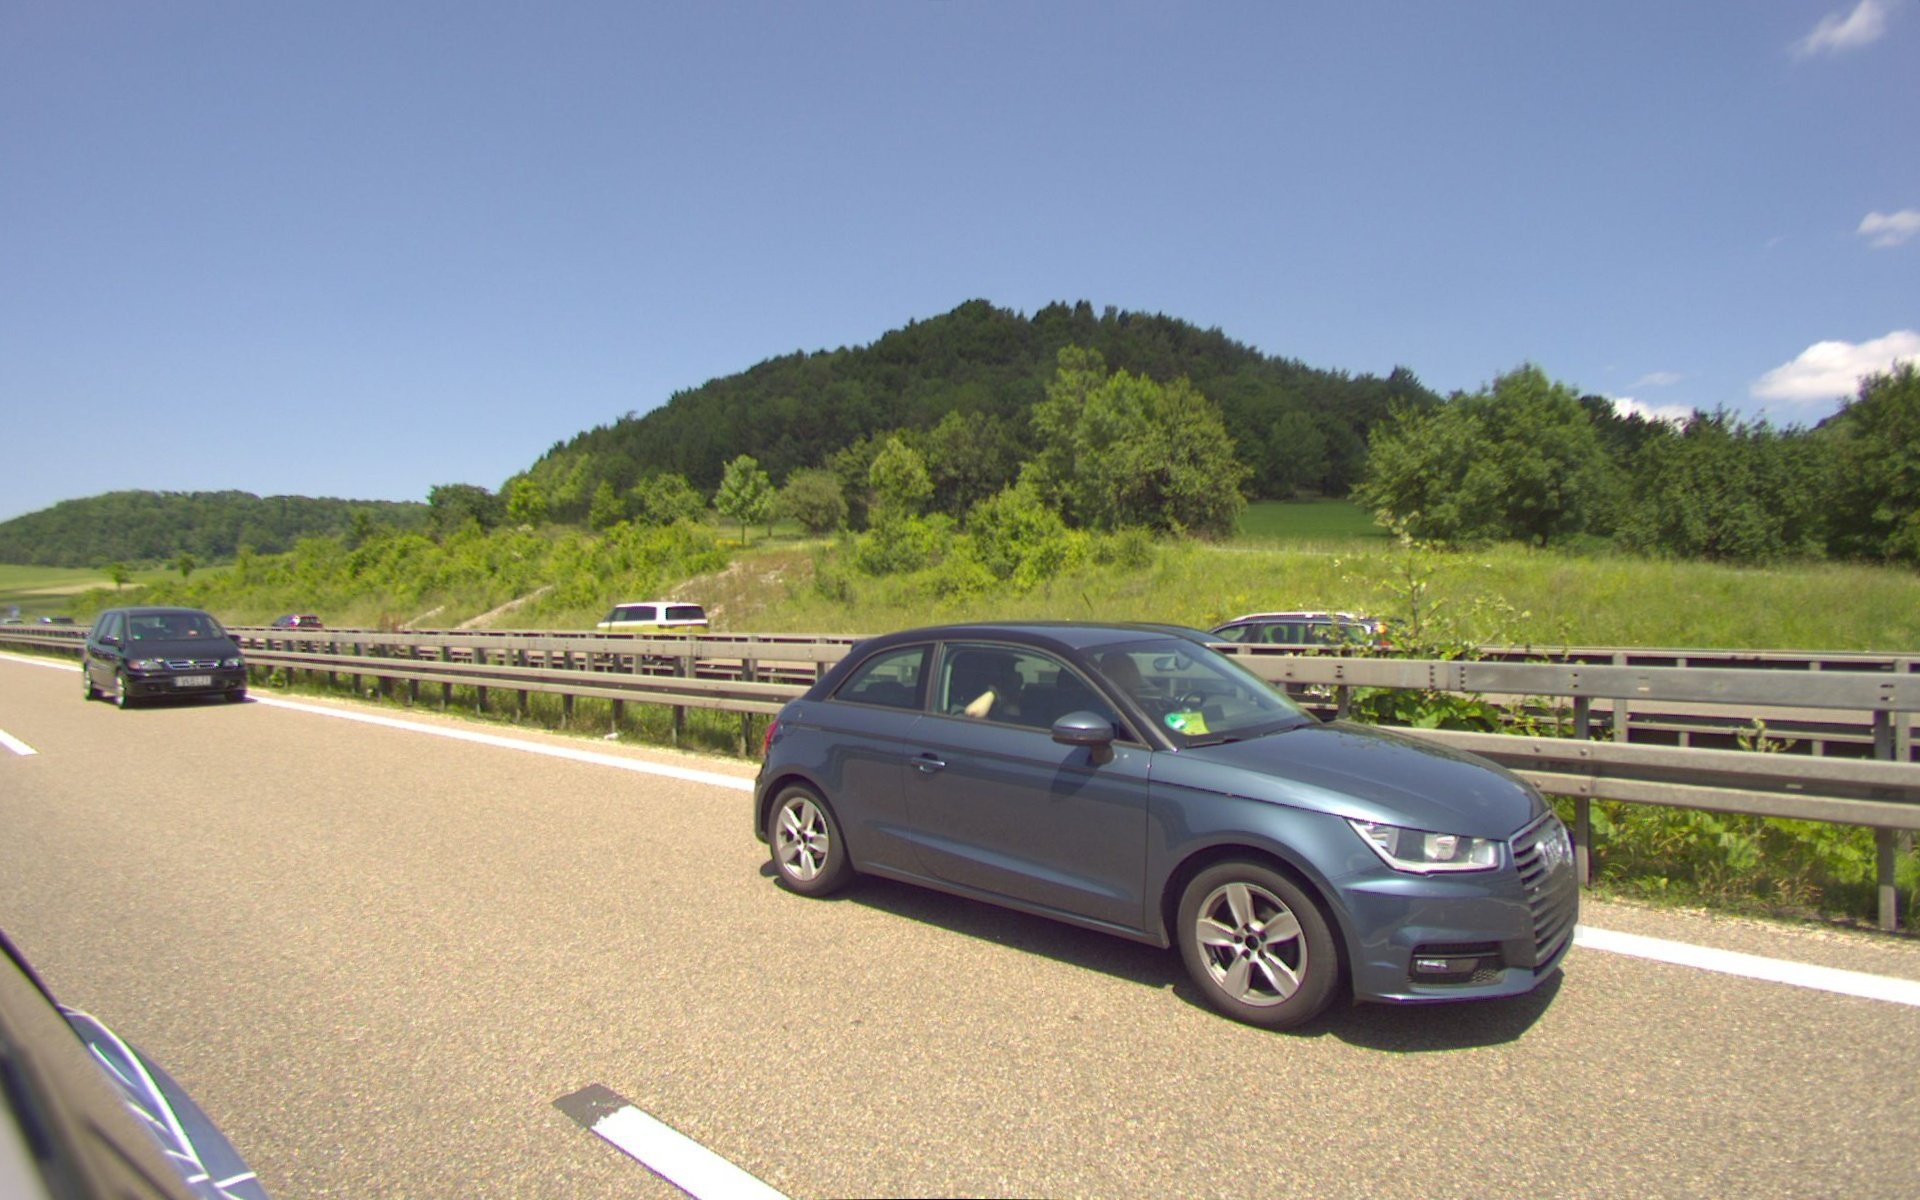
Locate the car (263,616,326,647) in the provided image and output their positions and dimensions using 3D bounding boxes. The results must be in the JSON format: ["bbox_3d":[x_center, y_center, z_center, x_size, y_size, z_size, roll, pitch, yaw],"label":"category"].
[{"bbox_3d":[-37.728,1.773,57.341,4.542,1.657,1.806,-1,-1,41],"label":"car"}]

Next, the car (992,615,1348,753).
[{"bbox_3d":[2.581,0.961,13.094,4.227,1.487,1.714,-1,-1,41],"label":"car"}]

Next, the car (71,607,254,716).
[{"bbox_3d":[-13.847,0.968,17.486,4.445,1.647,1.781,-1,-1,42],"label":"car"}]

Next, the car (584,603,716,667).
[{"bbox_3d":[-10.353,1.126,33.630,4.658,1.956,2.039,-1,-1,41],"label":"car"}]

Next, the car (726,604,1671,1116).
[{"bbox_3d":[0.790,0.749,4.735,3.998,1.399,1.671,-1,-1,41],"label":"car"}]

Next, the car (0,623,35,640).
[{"bbox_3d":[-83.960,2.820,90.061,4.524,1.466,1.973,-1,-1,41],"label":"car"}]

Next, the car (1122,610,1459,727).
[{"bbox_3d":[4.946,0.949,15.539,4.519,1.530,1.973,-1,-1,41],"label":"car"}]

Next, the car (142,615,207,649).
[{"bbox_3d":[-45.221,1.804,58.209,5.224,1.853,1.973,-1,-1,41],"label":"car"}]
